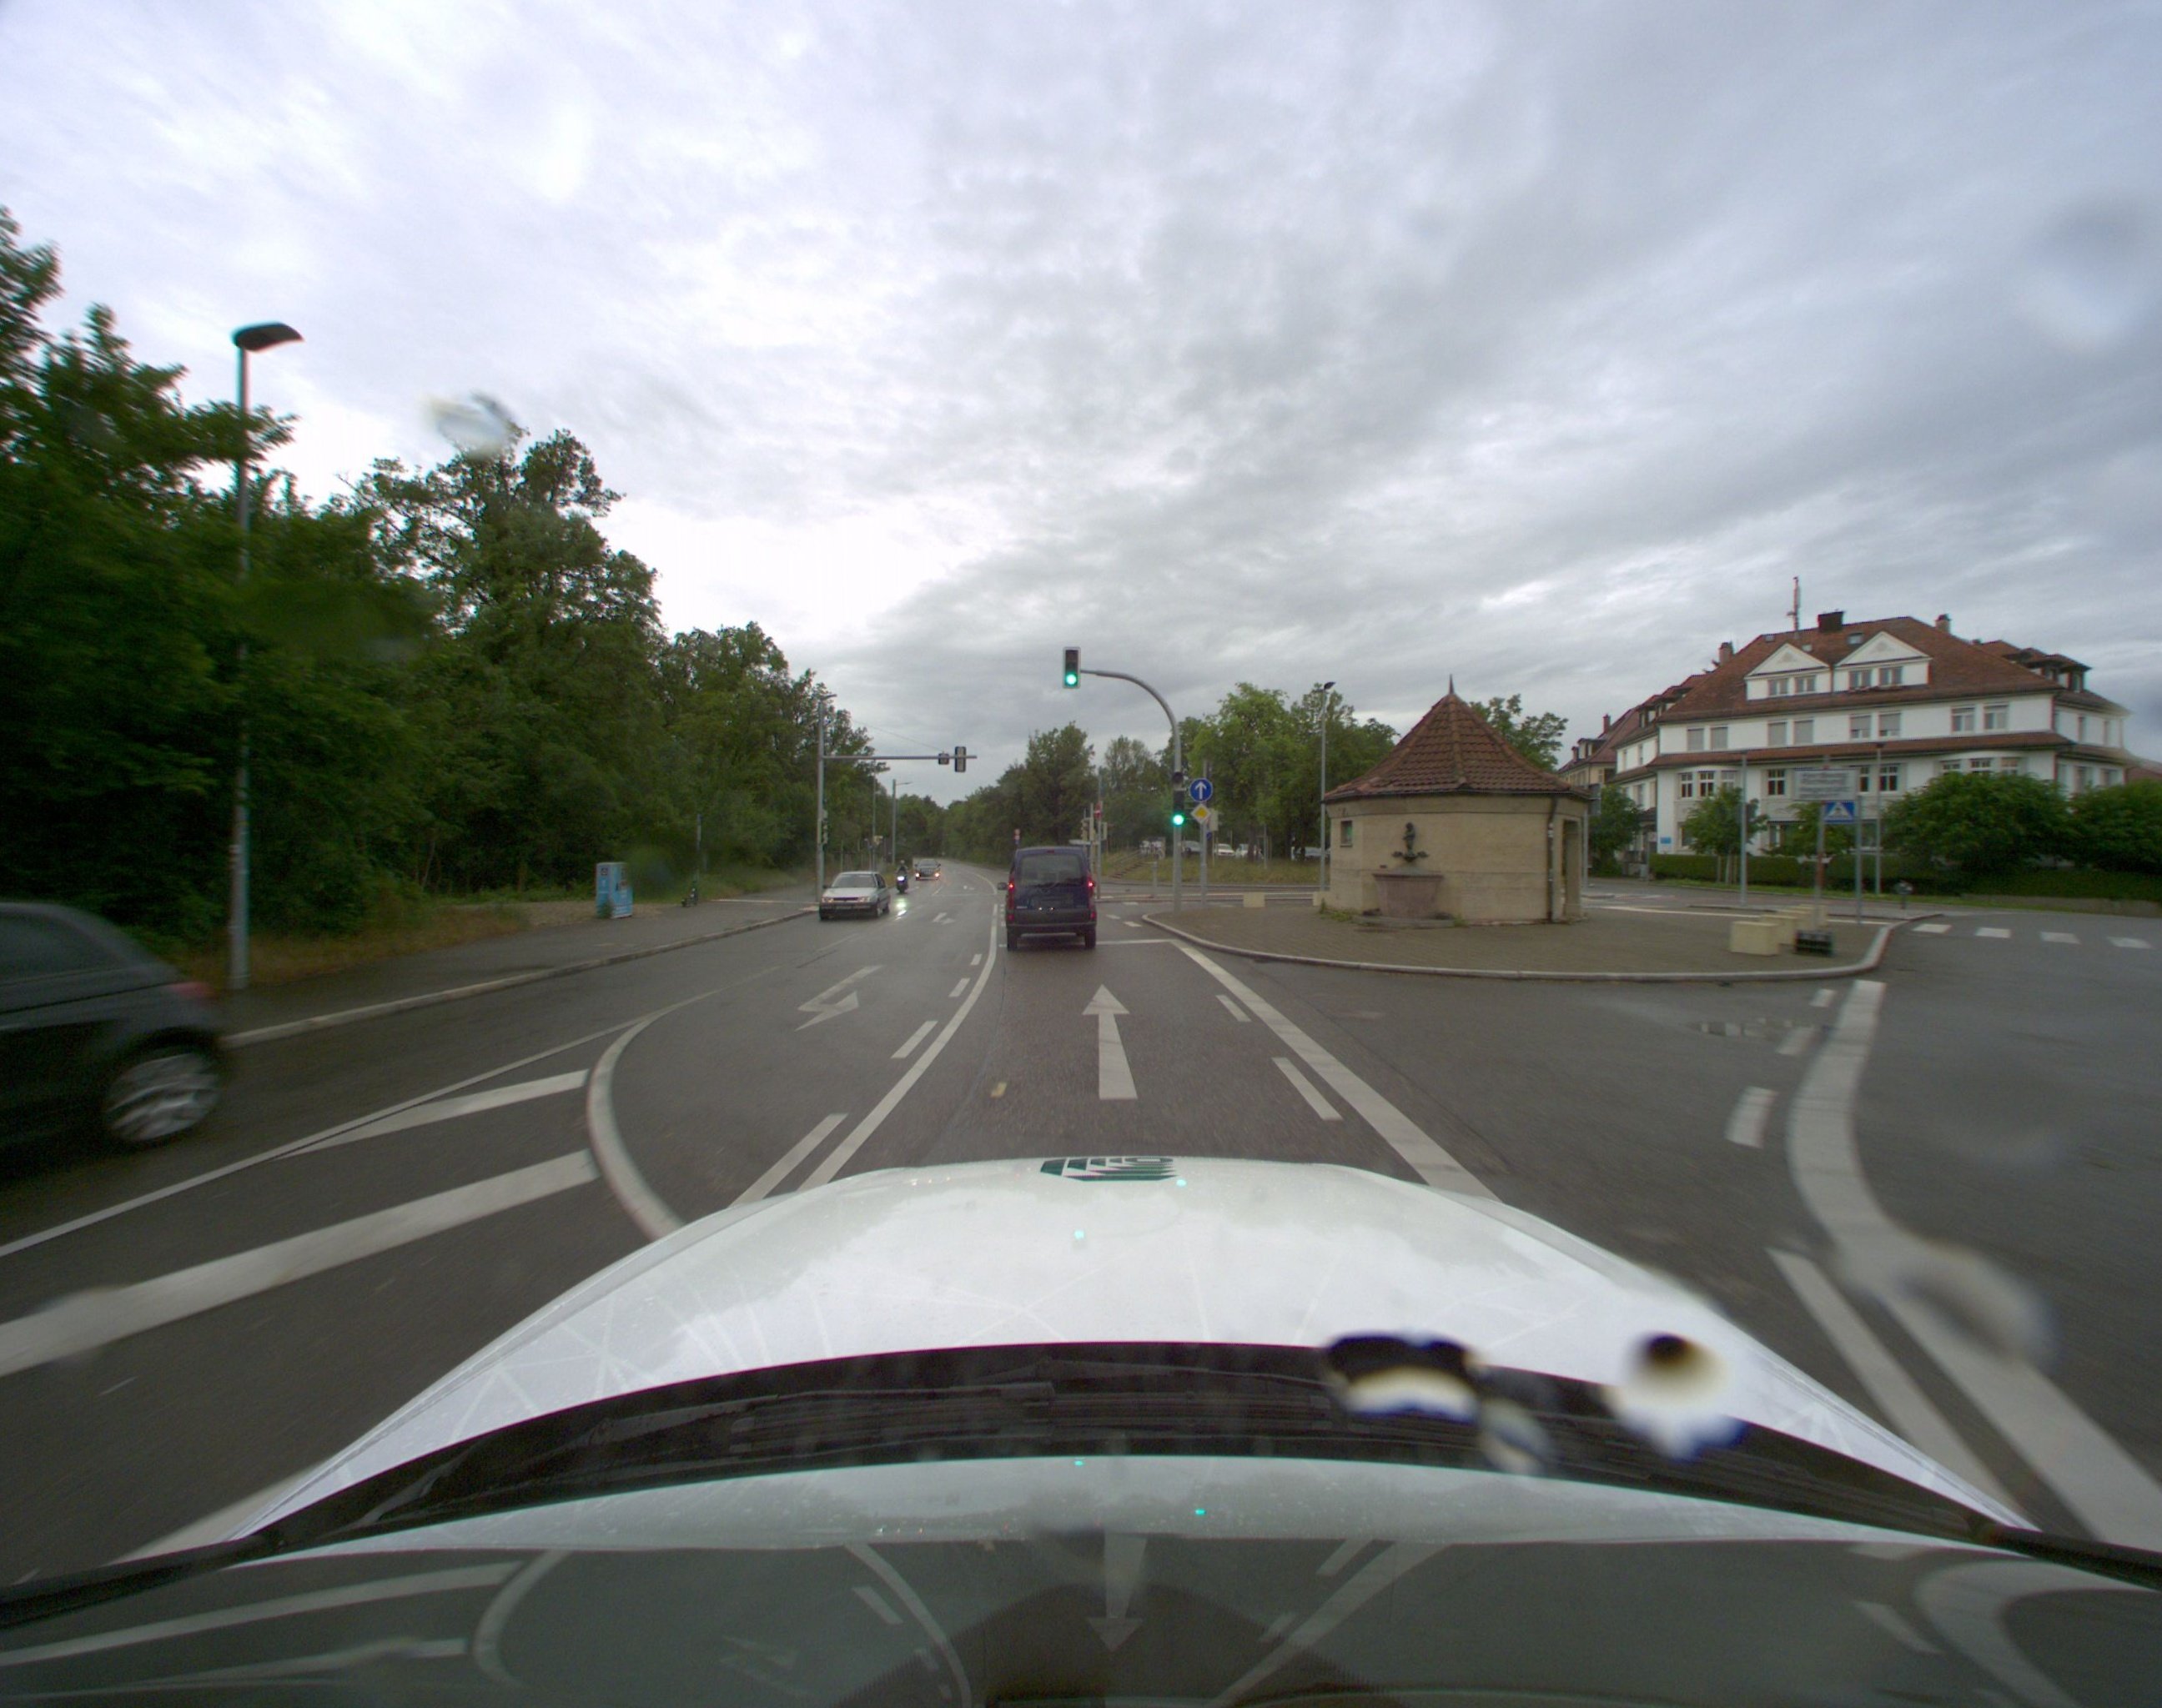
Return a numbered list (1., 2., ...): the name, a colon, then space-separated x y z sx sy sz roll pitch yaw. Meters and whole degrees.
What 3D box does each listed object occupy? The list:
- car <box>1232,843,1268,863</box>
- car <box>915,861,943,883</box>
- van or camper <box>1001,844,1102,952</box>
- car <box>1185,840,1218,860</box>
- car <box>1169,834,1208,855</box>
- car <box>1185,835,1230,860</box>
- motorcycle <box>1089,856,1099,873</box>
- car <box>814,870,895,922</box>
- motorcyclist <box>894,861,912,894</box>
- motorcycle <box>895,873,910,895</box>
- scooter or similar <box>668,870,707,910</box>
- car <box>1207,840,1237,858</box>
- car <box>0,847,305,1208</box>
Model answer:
1. car: 13.339 -0.066 64.476 1.881 1.480 4.064 2 -1 -3
2. car: -11.524 1.331 62.092 1.787 1.581 4.550 -1 0 -7
3. van or camper: -0.666 0.769 15.891 1.710 1.826 3.993 1 0 -5
4. car: 10.706 -0.383 72.645 1.990 1.662 4.466 3 0 -4
5. car: 8.334 -0.742 63.732 1.992 1.480 4.273 2 -1 -7
6. car: 8.975 -0.463 58.169 1.993 1.662 3.988 3 0 -8
7. motorcycle: 1.011 0.800 62.942 0.586 1.289 1.540 -1 0 6
8. car: -6.944 1.247 25.378 1.739 1.352 4.200 -1 0 -7
9. motorcyclist: -9.068 1.206 41.478 0.744 1.632 0.925 -1 0 -5
10. motorcycle: -9.079 1.499 41.484 0.593 1.051 1.993 -1 0 -7
11. scooter or similar: -12.572 1.140 26.048 0.516 1.212 1.468 0 0 -1
12. car: 12.966 -0.406 75.142 1.881 1.480 4.064 2 -1 -3
13. car: -5.980 0.848 3.551 1.571 1.731 3.773 -1 0 -1
